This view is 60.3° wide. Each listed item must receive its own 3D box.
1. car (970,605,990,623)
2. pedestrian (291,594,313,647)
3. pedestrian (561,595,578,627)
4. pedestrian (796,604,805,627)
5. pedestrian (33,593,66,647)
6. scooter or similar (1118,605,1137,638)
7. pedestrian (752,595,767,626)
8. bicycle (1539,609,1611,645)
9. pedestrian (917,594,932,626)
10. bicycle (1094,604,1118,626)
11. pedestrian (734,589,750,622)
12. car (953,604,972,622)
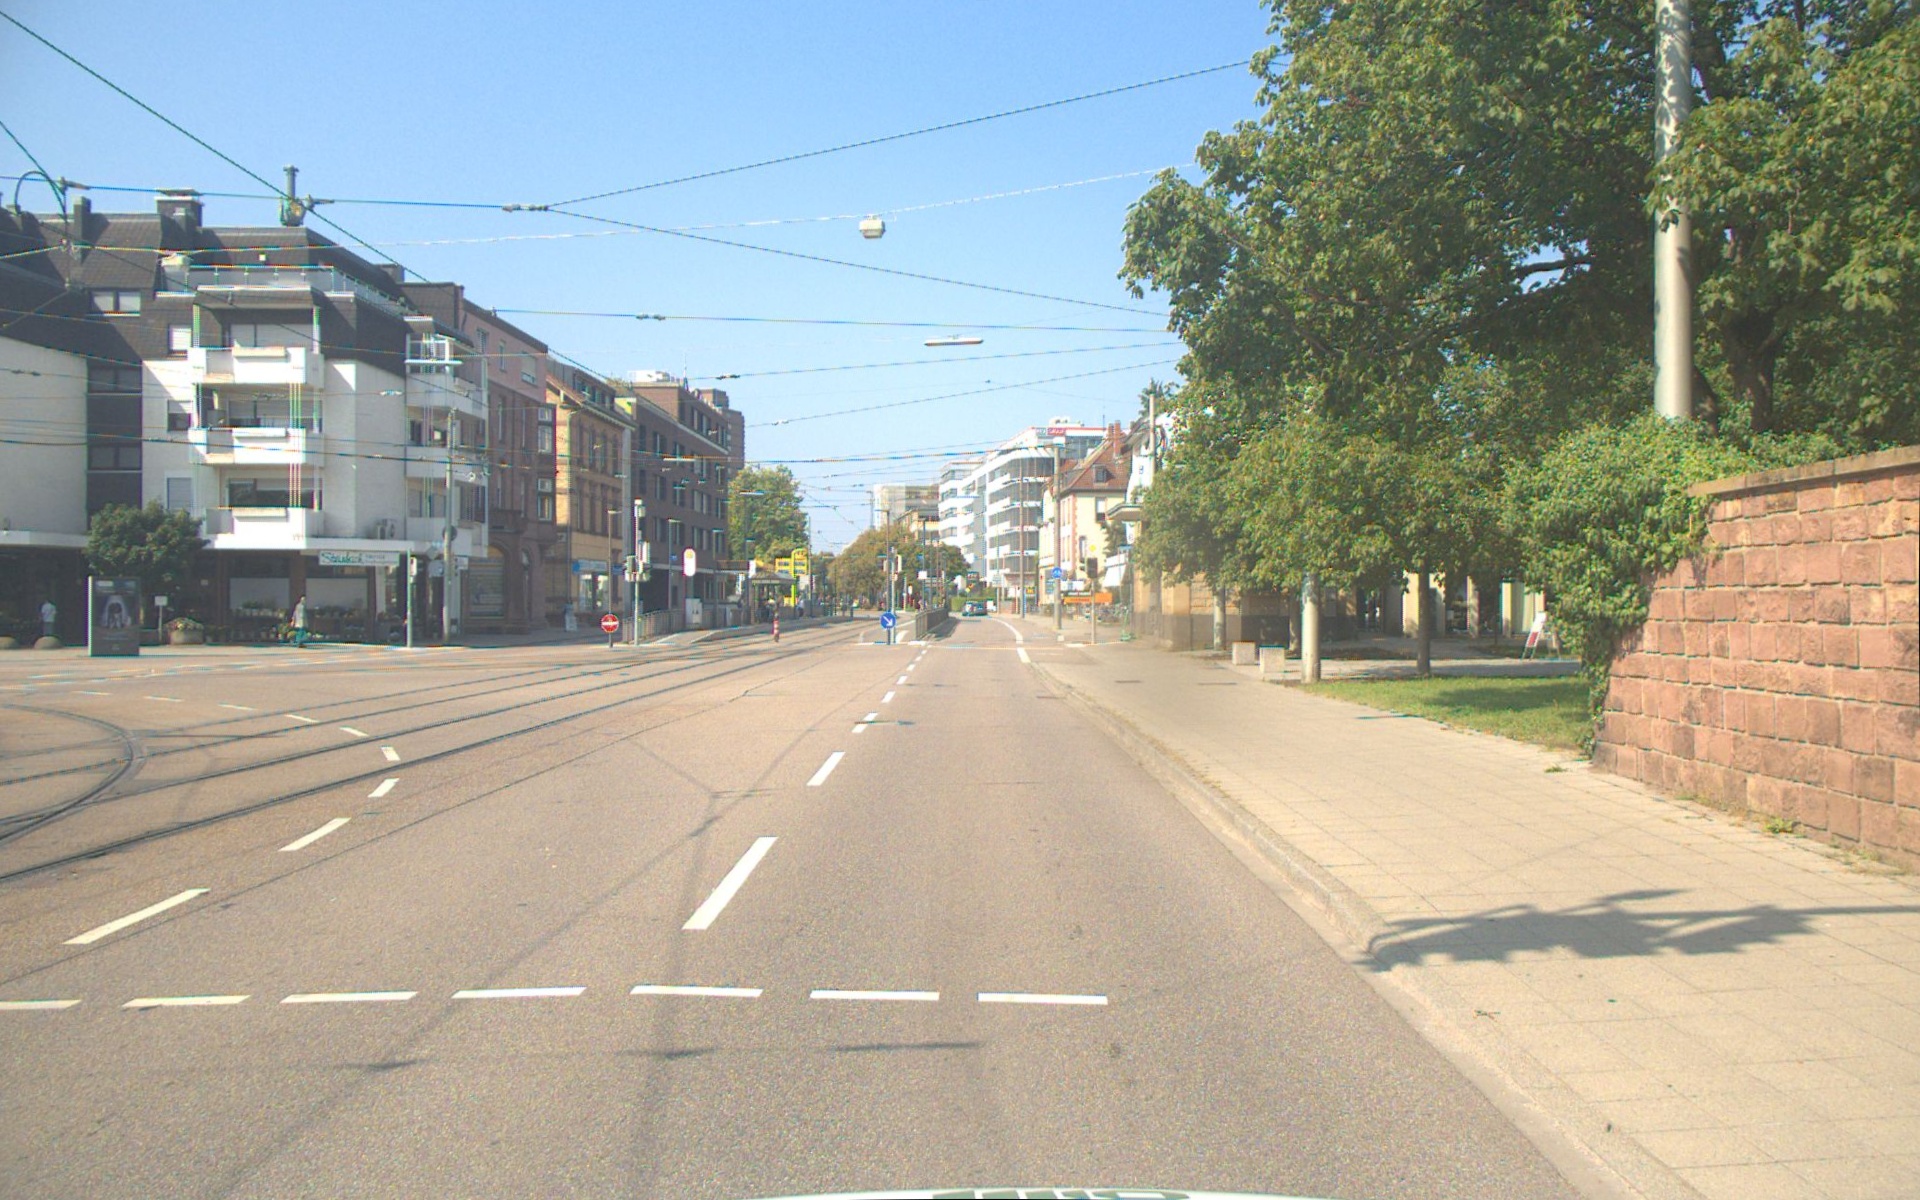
[{"bbox_3d":[2.196,1.549,181.124,1.969,1.891,4.001,-2,0,2],"label":"car"},{"bbox_3d":[-22.520,0.706,56.602,0.592,1.776,0.559,-1,-1,-33],"label":"pedestrian"},{"bbox_3d":[-19.543,0.563,82.868,0.472,1.587,0.888,1,-1,12],"label":"pedestrian"},{"bbox_3d":[-11.003,1.044,114.105,0.522,1.557,0.701,-2,-1,-6],"label":"pedestrian"},{"bbox_3d":[-30.477,0.660,55.347,0.665,1.771,0.698,-2,-1,2],"label":"pedestrian"},{"bbox_3d":[6.032,0.783,59.613,0.512,1.153,1.511,-2,0,1],"label":"scooter or similar"},{"bbox_3d":[-11.711,0.626,96.776,0.693,1.778,0.799,-2,-1,1],"label":"pedestrian"},{"bbox_3d":[17.160,0.756,46.165,1.865,0.997,0.427,0,0,0],"label":"bicycle"},{"bbox_3d":[-1.934,0.564,90.463,0.705,1.733,0.884,-2,-1,1],"label":"pedestrian"},{"bbox_3d":[8.018,0.829,91.043,0.717,1.152,2.835,-4,0,-6],"label":"bicycle"},{"bbox_3d":[-11.810,0.306,89.724,0.693,1.753,0.799,-2,-1,1],"label":"pedestrian"},{"bbox_3d":[0.272,1.451,187.228,1.969,1.891,4.001,-2,0,2],"label":"car"}]
